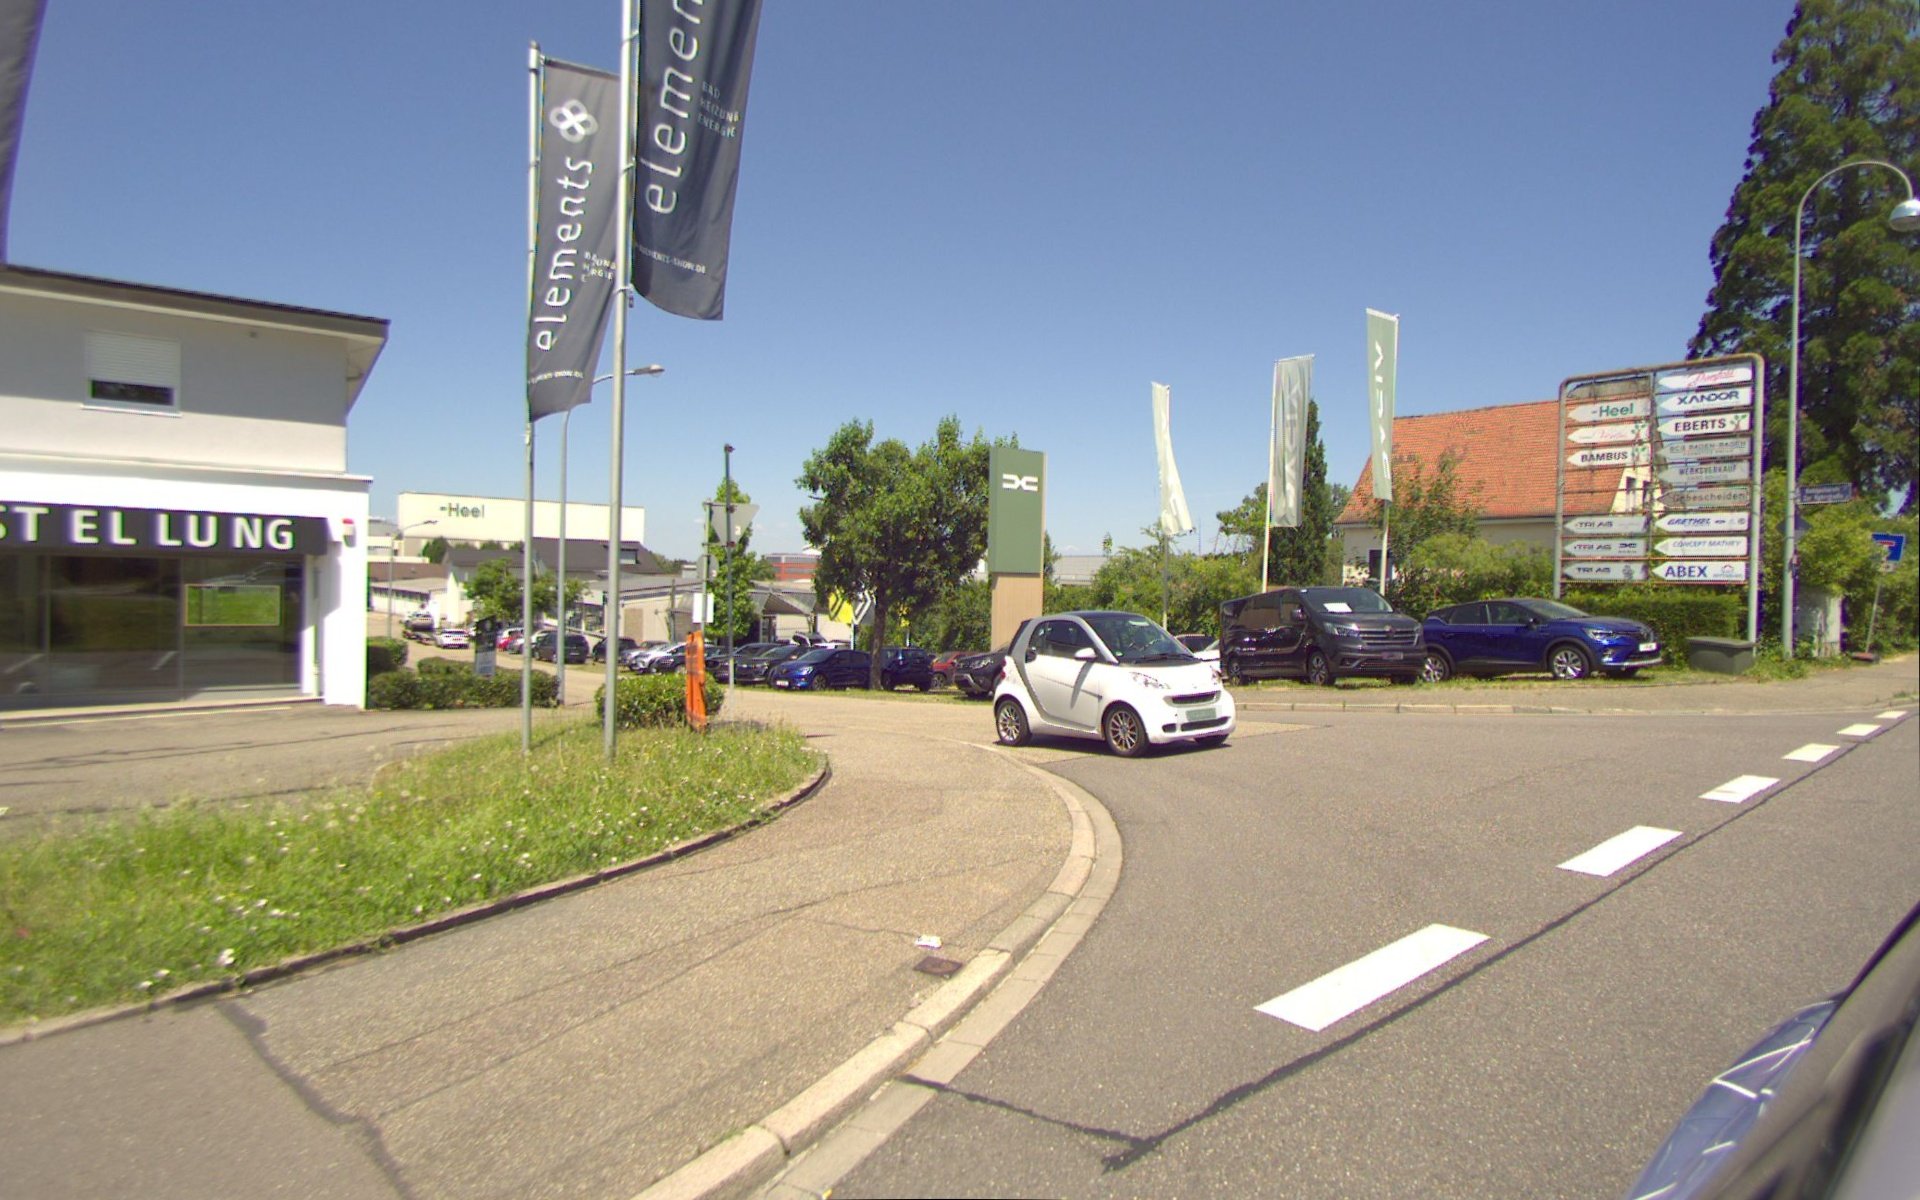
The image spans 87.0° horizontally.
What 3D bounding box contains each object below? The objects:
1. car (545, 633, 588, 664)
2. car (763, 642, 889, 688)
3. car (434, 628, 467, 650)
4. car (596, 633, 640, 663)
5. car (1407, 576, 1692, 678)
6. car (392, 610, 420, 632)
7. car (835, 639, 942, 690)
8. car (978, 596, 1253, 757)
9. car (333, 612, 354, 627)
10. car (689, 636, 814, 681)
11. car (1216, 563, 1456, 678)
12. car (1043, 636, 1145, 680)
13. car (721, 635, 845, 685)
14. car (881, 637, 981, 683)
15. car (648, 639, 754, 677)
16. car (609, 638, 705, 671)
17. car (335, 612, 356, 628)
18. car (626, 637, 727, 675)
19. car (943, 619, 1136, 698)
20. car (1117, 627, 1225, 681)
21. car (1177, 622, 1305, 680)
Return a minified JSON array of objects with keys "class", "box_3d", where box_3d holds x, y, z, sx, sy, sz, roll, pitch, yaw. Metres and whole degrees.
[{"class":"car","box_3d":[-23.308,2.824,59.927,1.744,1.654,3.871,1,-1,-30]},{"class":"car","box_3d":[-4.291,2.129,32.873,1.707,1.391,3.942,-2,-5,39]},{"class":"car","box_3d":[-37.400,2.825,74.263,1.730,1.484,3.924,1,0,-32]},{"class":"car","box_3d":[-20.696,2.876,61.160,1.744,1.654,3.871,1,-1,-30]},{"class":"car","box_3d":[10.676,0.567,18.665,1.819,1.534,4.083,-2,-4,-29]},{"class":"car","box_3d":[-48.031,1.808,87.657,1.848,1.872,4.002,1,-1,-32]},{"class":"car","box_3d":[-2.712,2.352,37.686,1.863,1.638,3.991,1,-1,-43]},{"class":"car","box_3d":[1.691,0.811,11.627,1.567,1.539,2.775,-3,-1,-35]},{"class":"car","box_3d":[-74.832,2.306,122.780,1.920,1.739,3.534,1,-1,-35]},{"class":"car","box_3d":[-7.853,2.247,38.434,1.865,1.555,4.340,-2,-6,42]},{"class":"car","box_3d":[7.077,0.517,19.842,1.957,1.925,5.281,-1,-4,-9]},{"class":"car","box_3d":[4.662,1.990,35.090,3.373,1.462,1.737,2,-4,-42]},{"class":"car","box_3d":[-6.030,2.101,34.911,1.743,1.555,4.028,-2,-6,39]},{"class":"car","box_3d":[-1.203,2.486,42.614,3.930,1.725,1.872,1,-1,-41]},{"class":"car","box_3d":[-10.760,2.390,42.176,3.922,1.405,1.780,1,-1,-33]},{"class":"car","box_3d":[-13.995,2.484,46.774,3.922,1.405,1.780,1,-1,-33]},{"class":"car","box_3d":[-71.985,2.315,118.513,1.920,1.739,3.534,1,-1,-35]},{"class":"car","box_3d":[-12.445,2.424,44.458,3.922,1.543,1.780,1,-1,-33]},{"class":"car","box_3d":[1.920,1.367,24.556,4.277,1.679,1.832,-1,-1,-24]},{"class":"car","box_3d":[6.807,1.762,32.450,3.372,1.529,1.737,6,-7,-42]},{"class":"car","box_3d":[8.063,1.506,28.895,1.823,1.511,4.076,-3,-6,44]}]
